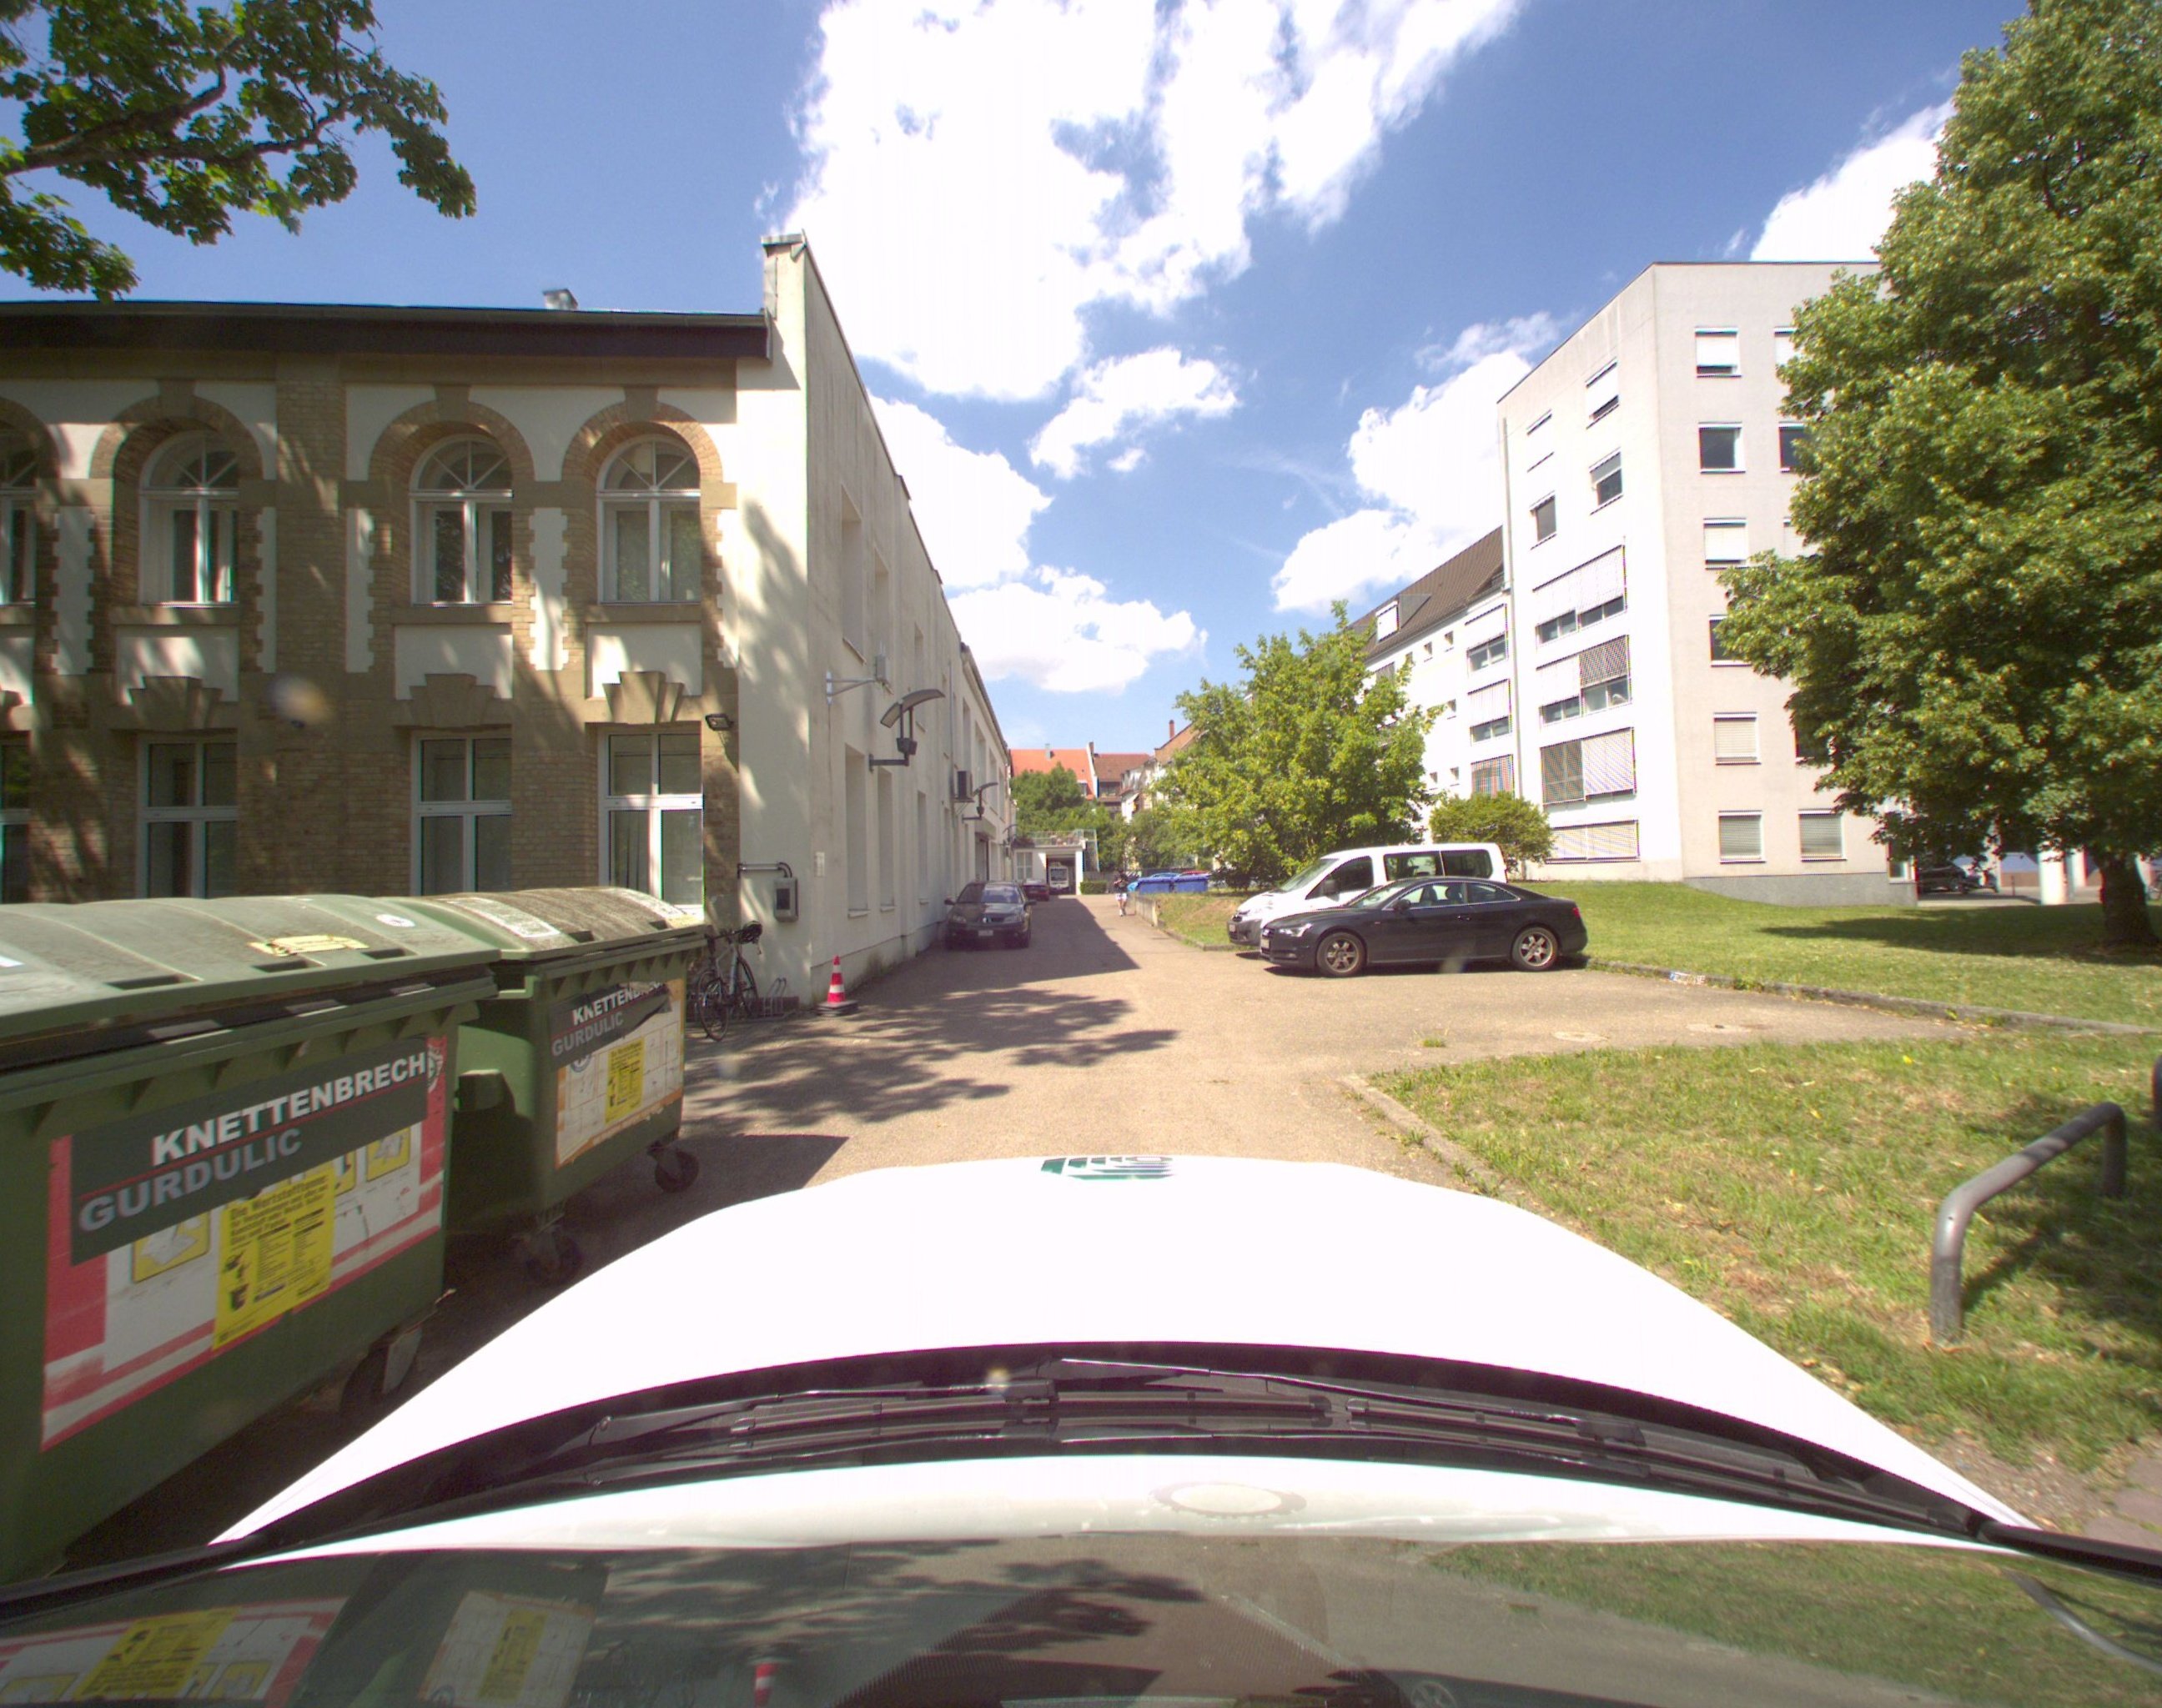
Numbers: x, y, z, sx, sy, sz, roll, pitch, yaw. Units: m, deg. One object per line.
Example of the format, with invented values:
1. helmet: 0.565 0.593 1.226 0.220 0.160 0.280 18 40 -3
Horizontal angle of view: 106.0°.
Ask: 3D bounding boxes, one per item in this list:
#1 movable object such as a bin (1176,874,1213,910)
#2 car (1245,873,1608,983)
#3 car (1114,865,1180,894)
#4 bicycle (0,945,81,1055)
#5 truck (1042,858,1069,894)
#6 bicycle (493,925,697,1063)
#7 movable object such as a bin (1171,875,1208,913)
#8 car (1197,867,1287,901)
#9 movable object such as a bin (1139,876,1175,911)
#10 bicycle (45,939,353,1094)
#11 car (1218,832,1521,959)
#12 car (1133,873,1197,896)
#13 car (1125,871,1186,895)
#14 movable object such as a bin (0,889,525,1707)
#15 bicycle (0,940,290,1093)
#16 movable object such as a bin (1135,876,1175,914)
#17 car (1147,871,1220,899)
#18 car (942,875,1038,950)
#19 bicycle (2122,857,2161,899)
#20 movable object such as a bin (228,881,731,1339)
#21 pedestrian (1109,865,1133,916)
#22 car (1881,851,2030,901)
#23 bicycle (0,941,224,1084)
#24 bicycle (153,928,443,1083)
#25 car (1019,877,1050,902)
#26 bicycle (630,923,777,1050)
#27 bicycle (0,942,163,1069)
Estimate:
1. movable object such as a bin: 4.462 1.479 32.058 1.214 1.327 1.159 -2 -1 -4
2. car: 4.927 1.022 12.039 4.600 1.352 1.832 -1 -1 -3
3. car: 4.875 1.860 60.615 4.669 1.958 2.073 -2 -1 -4
4. bicycle: -10.788 1.455 7.472 0.604 1.011 2.255 -1 -1 -5
5. truck: -2.183 1.894 69.358 1.786 2.937 4.640 -1 -2 -7
6. bicycle: -4.558 1.255 7.875 0.603 0.958 2.259 -1 -1 0
7. movable object such as a bin: 4.036 1.471 30.370 1.212 1.327 1.160 -2 -1 0
8. car: 7.821 1.449 39.790 3.979 1.478 1.802 -2 -1 -4
9. movable object such as a bin: 2.973 1.539 32.036 1.190 1.327 1.159 -2 -1 -4
10. bicycle: -8.068 1.416 7.650 0.604 1.011 2.255 -1 -1 -5
11. car: 5.063 0.718 14.766 4.747 2.014 1.998 -1 -2 -3
12. car: 5.602 2.023 54.622 3.979 1.390 1.802 -2 -1 -4
13. car: 5.238 2.008 57.586 3.979 1.534 1.802 -2 -1 -4
14. movable object such as a bin: -2.297 0.857 1.956 1.041 1.479 1.261 -2 -1 -2
15. bicycle: -8.722 1.420 7.621 0.604 1.011 2.255 -1 -1 -5
16. movable object such as a bin: 2.746 1.522 30.286 1.334 1.327 1.160 -2 -1 0
17. car: 6.001 1.808 48.003 3.979 1.478 1.802 -2 -1 -4
18. car: -1.948 1.235 18.603 1.749 1.430 4.384 -1 -1 -1
19. bicycle: 29.526 0.628 22.080 1.930 1.084 0.600 -1 -1 -5
20. movable object such as a bin: -2.336 0.882 3.448 1.040 1.479 1.410 -2 -1 1
21. pedestrian: 1.427 1.305 29.321 0.755 1.755 0.751 -2 -2 -1
22. car: 31.294 0.786 29.208 3.608 1.621 1.672 -2 -1 -2
23. bicycle: -9.386 1.427 7.578 0.604 1.011 2.255 -1 -1 -5
24. bicycle: -7.326 1.346 7.827 0.603 1.082 2.259 -1 -1 0
25. car: -2.823 2.156 50.231 1.794 1.390 3.995 -2 -1 -3
26. bicycle: -3.611 1.227 7.959 0.610 0.958 1.729 -1 -1 0
27. bicycle: -10.036 1.440 7.571 0.604 1.011 2.255 -1 -1 -5
